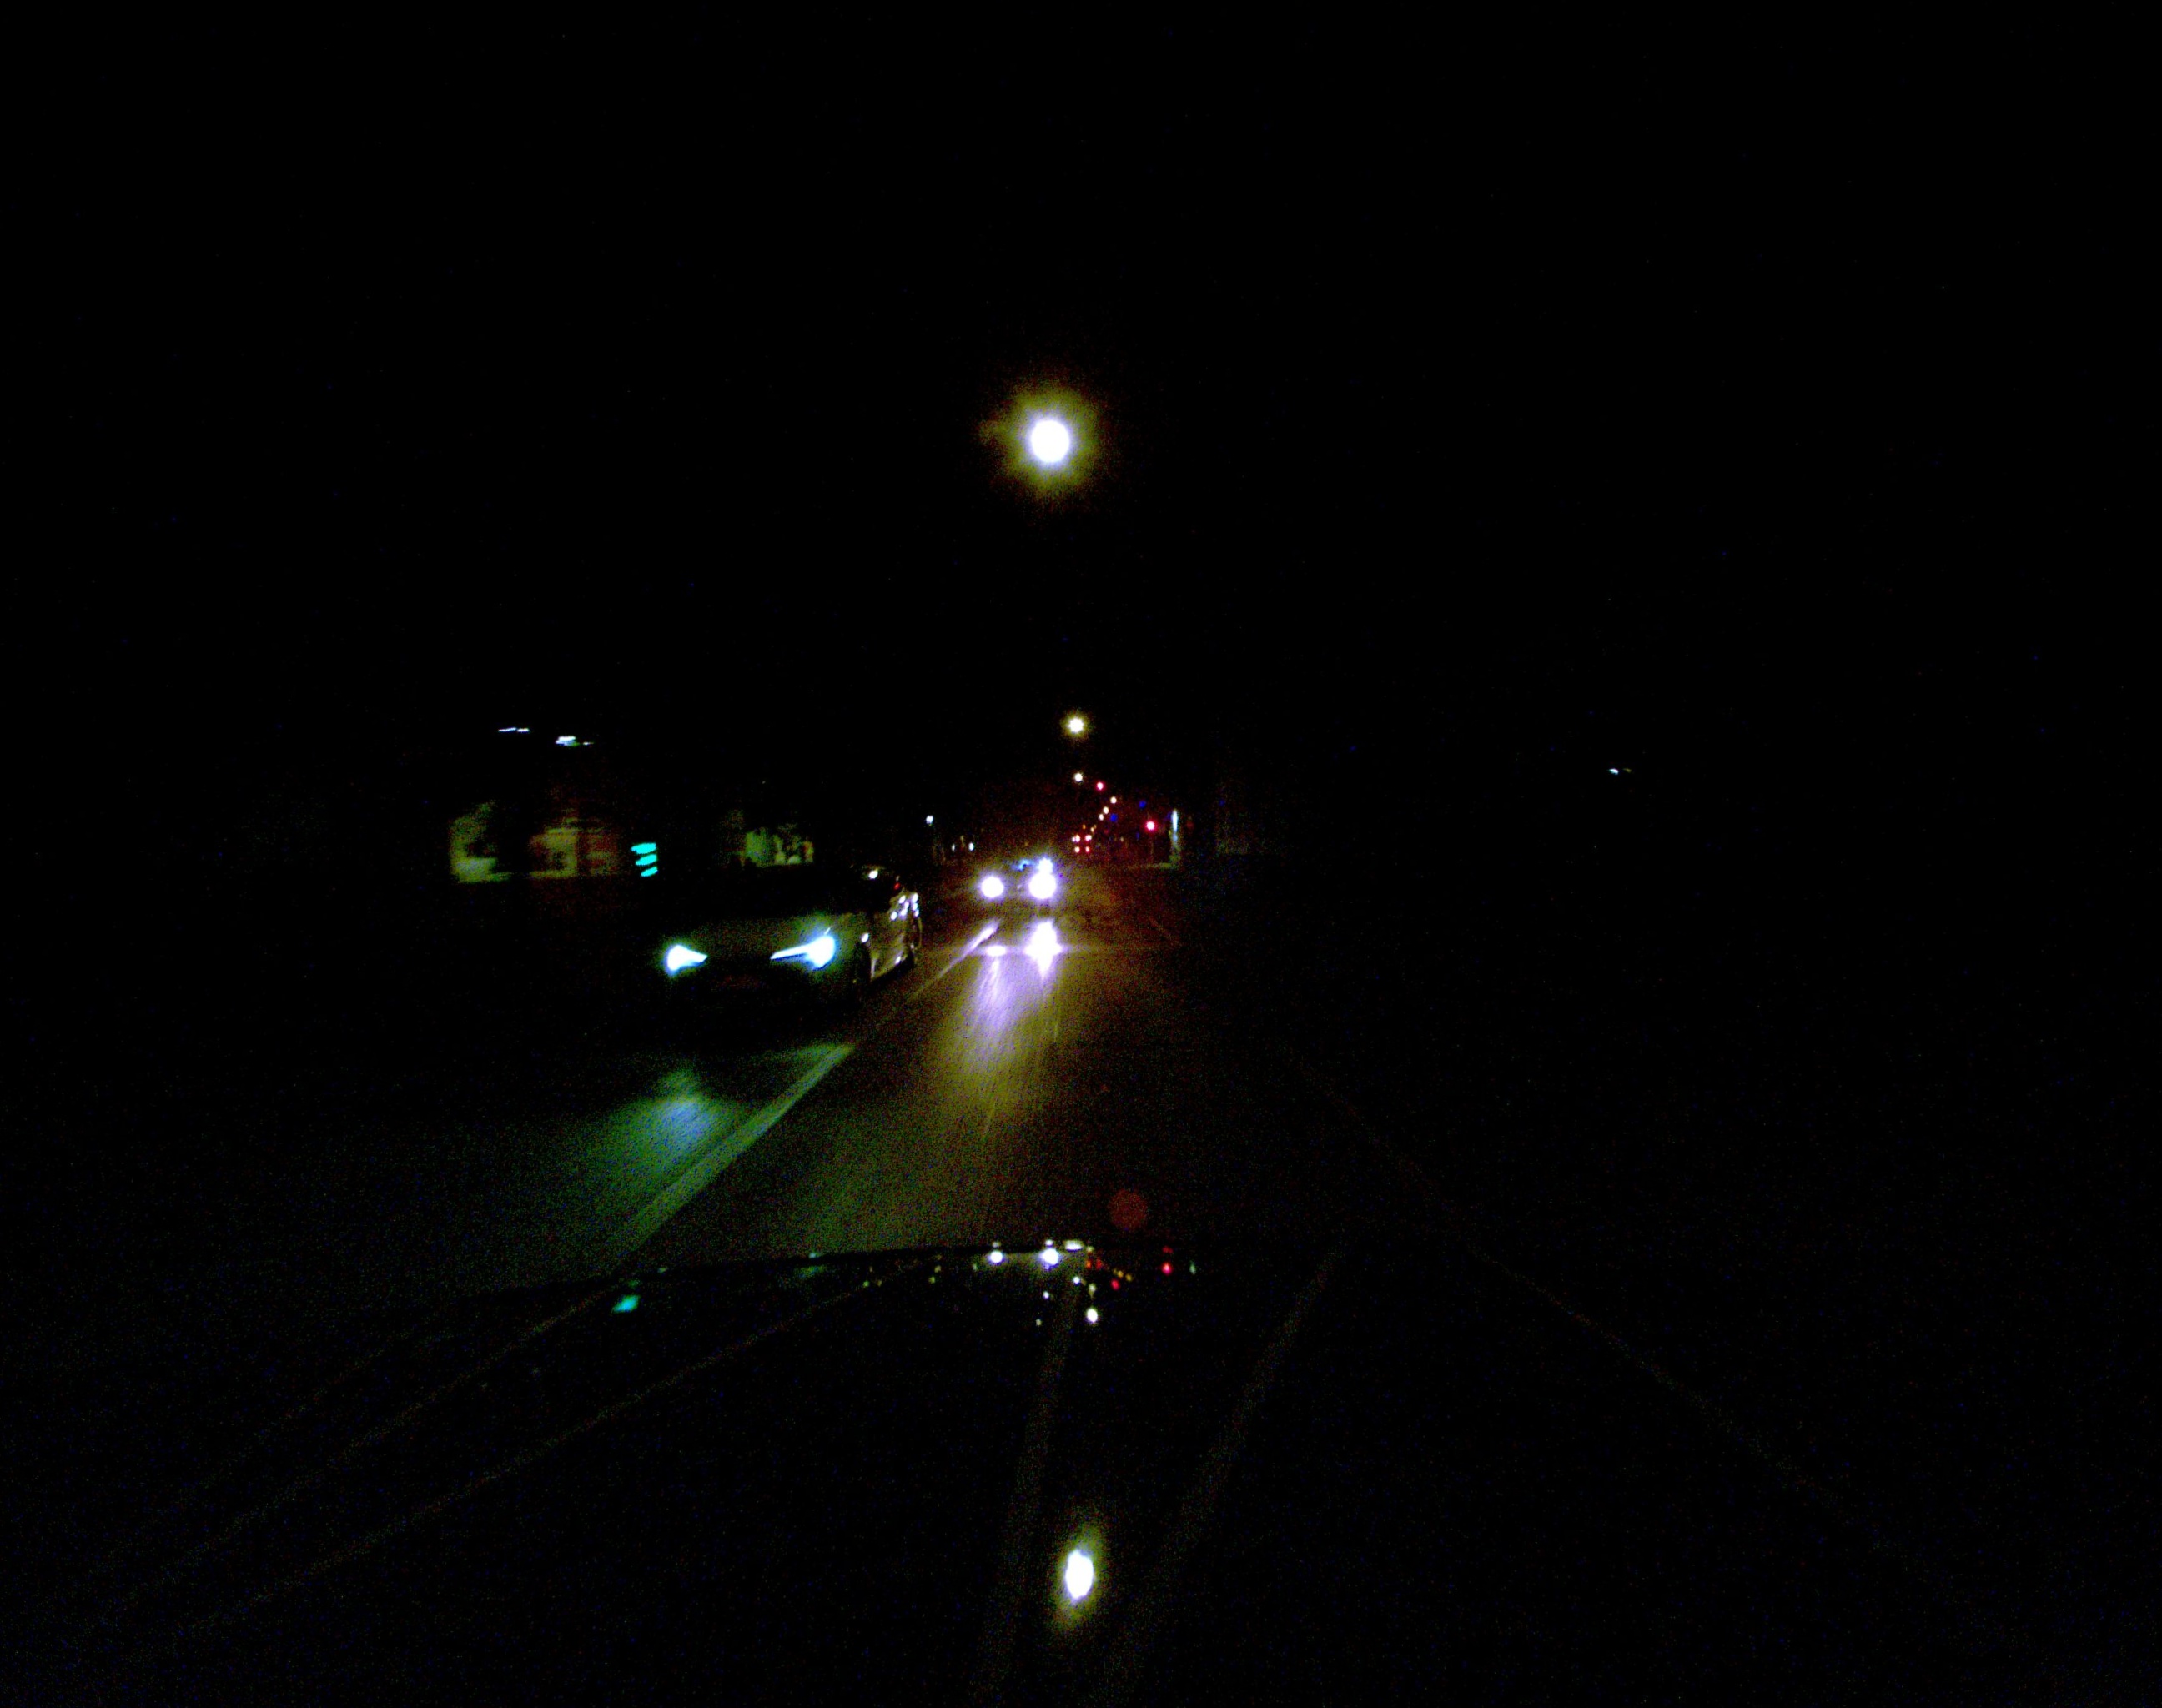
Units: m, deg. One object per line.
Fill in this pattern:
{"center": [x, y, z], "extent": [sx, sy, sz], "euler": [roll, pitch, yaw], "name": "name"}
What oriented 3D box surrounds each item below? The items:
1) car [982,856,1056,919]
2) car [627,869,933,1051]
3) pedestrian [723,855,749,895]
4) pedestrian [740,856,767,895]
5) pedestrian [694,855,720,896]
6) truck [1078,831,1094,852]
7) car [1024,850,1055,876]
{"center": [-1.588, 0.830, 20.531], "extent": [1.634, 1.430, 3.839], "euler": [-3, 1, 0], "name": "car"}
{"center": [-3.119, 0.991, 9.019], "extent": [1.729, 1.421, 4.498], "euler": [-3, 0, 1], "name": "car"}
{"center": [-15.758, 0.938, 34.725], "extent": [0.721, 1.778, 0.970], "euler": [-1, 1, 1], "name": "pedestrian"}
{"center": [-14.892, 0.961, 34.538], "extent": [0.737, 1.707, 0.985], "euler": [-1, 1, 1], "name": "pedestrian"}
{"center": [-16.944, 0.954, 34.448], "extent": [0.676, 1.806, 0.906], "euler": [-1, 1, 1], "name": "pedestrian"}
{"center": [1.142, -2.998, 183.359], "extent": [3.517, 4.558, 9.039], "euler": [-3, 1, 0], "name": "truck"}
{"center": [-2.653, 0.562, 49.475], "extent": [1.729, 1.455, 3.999], "euler": [-4, 1, 0], "name": "car"}
